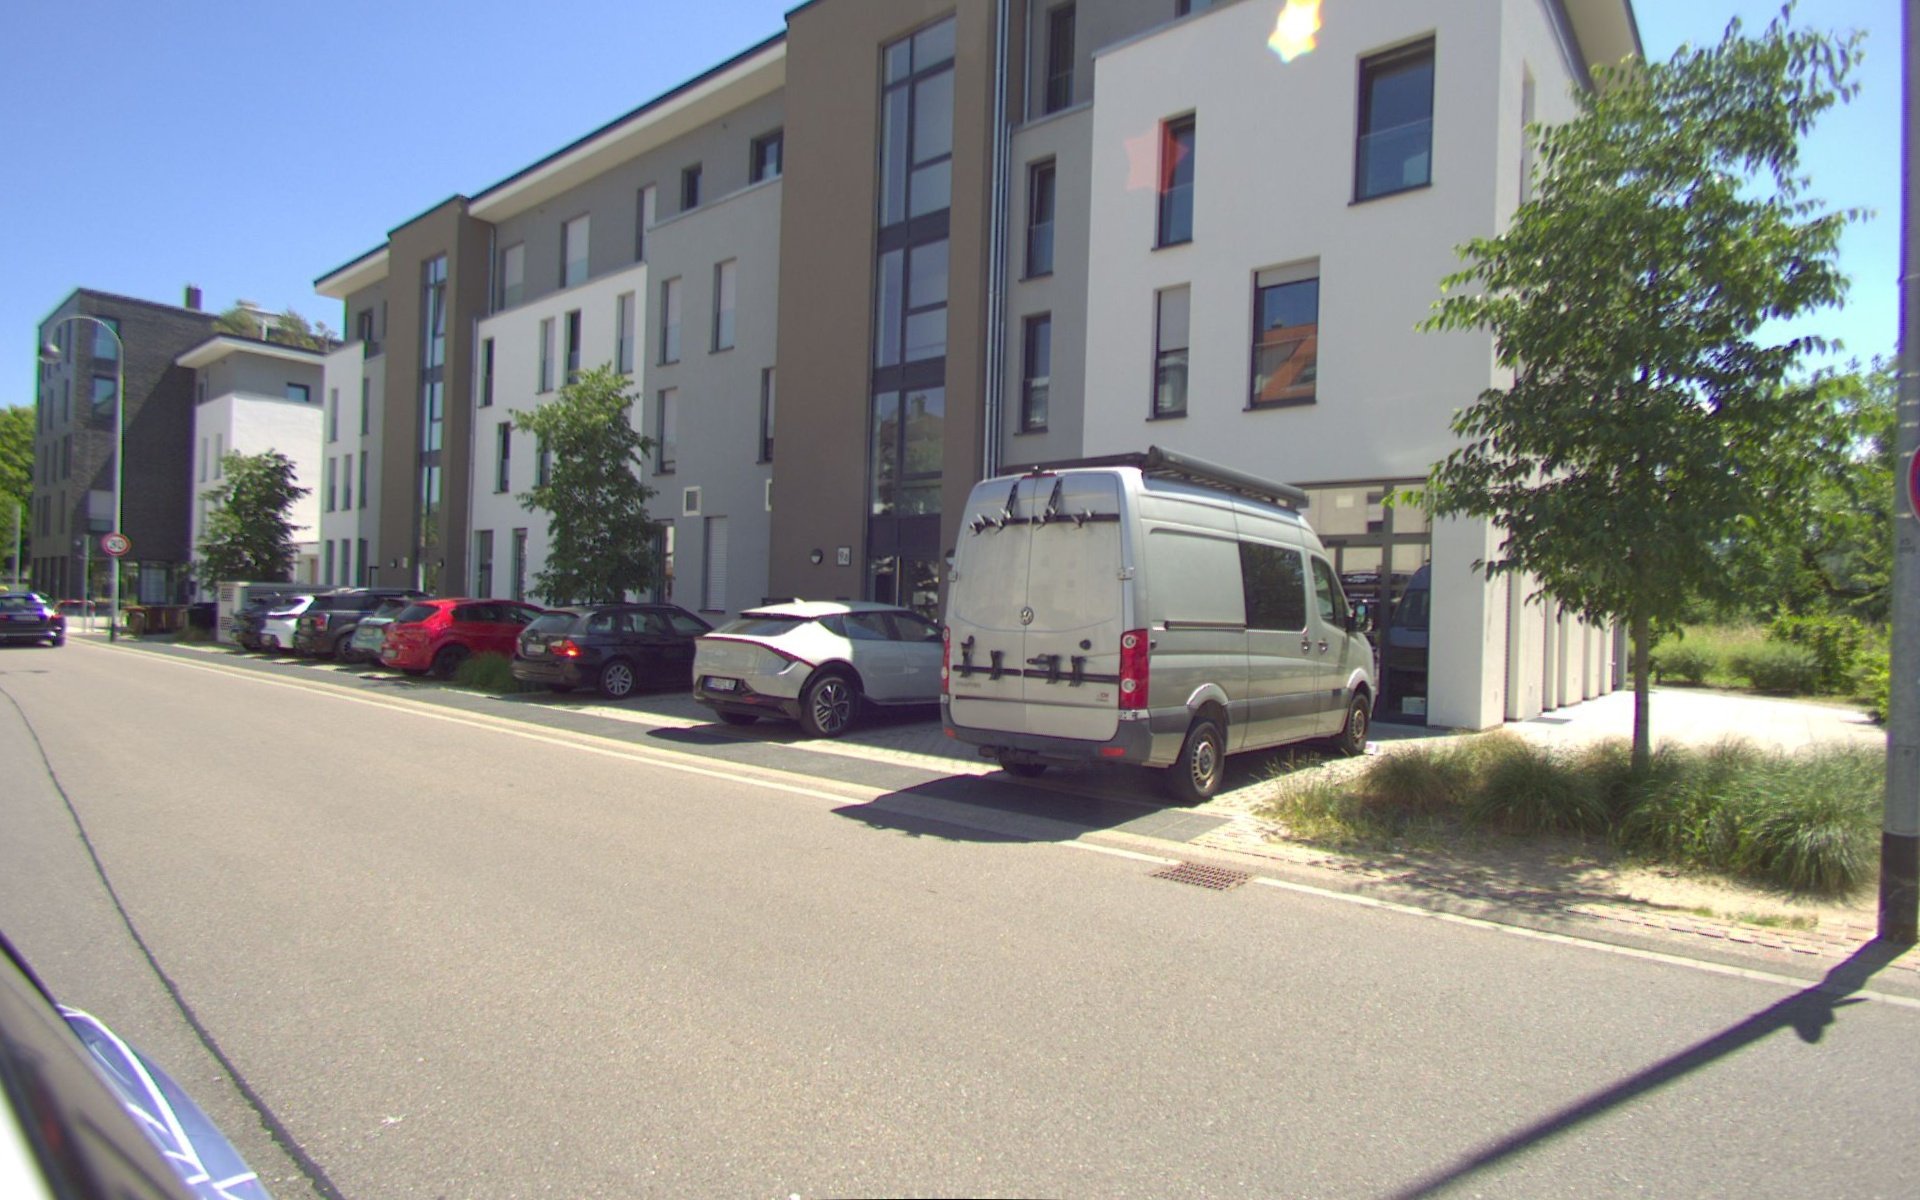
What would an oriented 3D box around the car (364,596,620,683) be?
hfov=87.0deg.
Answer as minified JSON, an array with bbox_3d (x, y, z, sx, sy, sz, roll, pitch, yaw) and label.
[{"bbox_3d":[-8.816,0.664,19.296,2.000,1.441,3.989,1,1,42],"label":"car"}]

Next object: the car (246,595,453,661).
[{"bbox_3d":[-14.764,0.614,24.617,1.909,1.432,3.946,1,1,40],"label":"car"}]

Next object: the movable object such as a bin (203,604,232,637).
[{"bbox_3d":[-23.801,0.661,32.438,0.541,1.047,0.551,1,0,23],"label":"movable object such as a bin"}]

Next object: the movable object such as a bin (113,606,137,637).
[{"bbox_3d":[-27.140,0.698,32.894,0.587,1.005,0.478,1,0,39],"label":"movable object such as a bin"}]

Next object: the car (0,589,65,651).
[{"bbox_3d":[-25.935,0.507,27.433,4.795,1.565,1.874,0,0,40],"label":"car"}]

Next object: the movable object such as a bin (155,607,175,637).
[{"bbox_3d":[-26.524,0.734,33.761,0.555,1.005,0.399,1,0,39],"label":"movable object such as a bin"}]

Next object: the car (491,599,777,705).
[{"bbox_3d":[-5.156,0.731,16.491,1.882,1.448,4.163,1,1,36],"label":"car"}]

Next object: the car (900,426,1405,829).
[{"bbox_3d":[2.222,0.164,9.843,2.290,2.753,5.708,1,1,41],"label":"car"}]

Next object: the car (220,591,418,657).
[{"bbox_3d":[-16.498,0.548,26.171,1.999,1.527,3.945,2,1,41],"label":"car"}]

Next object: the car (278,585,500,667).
[{"bbox_3d":[-12.875,0.518,22.975,2.000,1.663,3.989,1,1,42],"label":"car"}]

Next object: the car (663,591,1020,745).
[{"bbox_3d":[-1.337,0.704,13.007,1.998,1.603,4.409,1,1,40],"label":"car"}]

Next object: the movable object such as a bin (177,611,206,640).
[{"bbox_3d":[-23.921,0.789,31.504,0.478,0.874,0.551,1,0,23],"label":"movable object such as a bin"}]

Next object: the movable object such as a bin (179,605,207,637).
[{"bbox_3d":[-24.635,0.670,32.506,0.559,1.028,0.549,1,0,35],"label":"movable object such as a bin"}]

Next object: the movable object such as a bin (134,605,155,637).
[{"bbox_3d":[-26.826,0.691,33.285,0.555,1.005,0.399,1,0,39],"label":"movable object such as a bin"}]

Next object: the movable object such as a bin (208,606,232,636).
[{"bbox_3d":[-25.770,0.725,35.263,0.586,1.005,0.479,1,0,33],"label":"movable object such as a bin"}]

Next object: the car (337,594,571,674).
[{"bbox_3d":[-10.590,0.634,21.371,2.000,1.508,3.989,1,1,42],"label":"car"}]

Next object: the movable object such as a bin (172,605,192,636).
[{"bbox_3d":[-26.225,0.693,34.112,0.555,1.005,0.399,1,0,39],"label":"movable object such as a bin"}]
